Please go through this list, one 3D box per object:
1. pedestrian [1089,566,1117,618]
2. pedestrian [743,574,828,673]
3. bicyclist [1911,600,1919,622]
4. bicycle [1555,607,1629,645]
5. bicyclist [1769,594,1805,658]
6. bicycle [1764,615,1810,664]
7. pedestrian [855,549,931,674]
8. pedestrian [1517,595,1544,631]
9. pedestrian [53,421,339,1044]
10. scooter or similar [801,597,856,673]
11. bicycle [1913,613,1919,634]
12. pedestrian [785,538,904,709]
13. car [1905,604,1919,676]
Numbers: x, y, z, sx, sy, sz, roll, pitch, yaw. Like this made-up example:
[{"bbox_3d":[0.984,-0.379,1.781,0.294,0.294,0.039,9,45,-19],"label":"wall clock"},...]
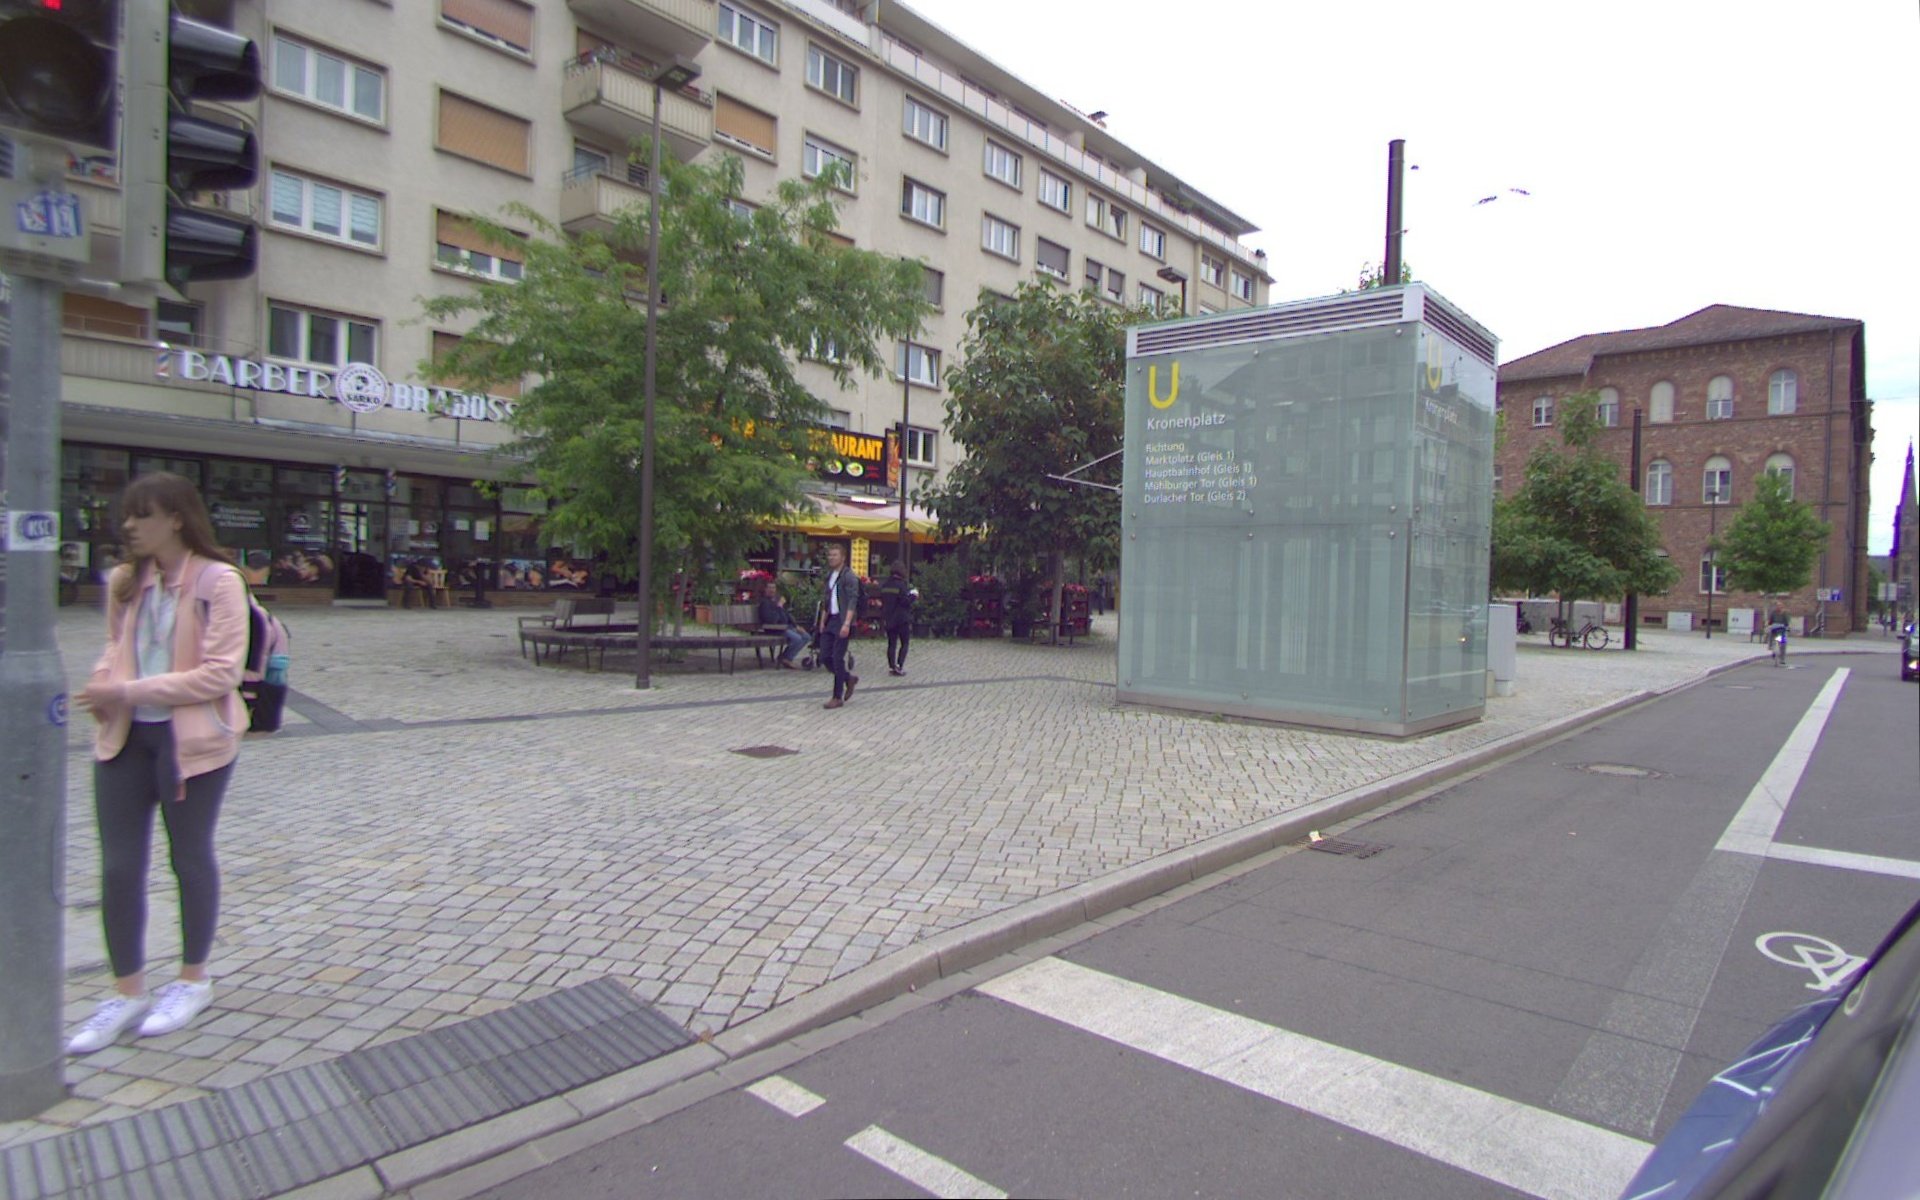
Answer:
[{"bbox_3d":[5.398,-0.295,38.182,0.835,1.909,0.777,1,0,-8],"label":"pedestrian"},{"bbox_3d":[-2.490,0.310,14.420,0.720,1.313,1.046,1,2,-41],"label":"pedestrian"},{"bbox_3d":[53.121,0.605,56.070,0.585,1.186,0.652,2,1,42],"label":"bicyclist"},{"bbox_3d":[20.122,0.822,32.260,0.633,1.137,1.920,1,0,-36],"label":"bicycle"},{"bbox_3d":[22.470,0.700,27.493,0.779,1.705,0.570,1,0,-38],"label":"bicyclist"},{"bbox_3d":[22.485,1.060,27.513,1.905,1.276,0.524,1,1,-37],"label":"bicycle"},{"bbox_3d":[-0.955,0.144,14.485,0.624,1.705,0.858,4,2,39],"label":"pedestrian"},{"bbox_3d":[25.209,0.568,44.736,0.768,1.473,0.765,4,2,13],"label":"pedestrian"},{"bbox_3d":[-2.476,0.375,3.297,0.521,1.784,0.594,0,-1,35],"label":"pedestrian"},{"bbox_3d":[-1.944,0.477,14.776,0.710,0.960,1.595,2,2,-9],"label":"scooter or similar"},{"bbox_3d":[53.026,1.299,55.930,0.471,1.173,2.238,2,1,42],"label":"bicycle"},{"bbox_3d":[-1.308,0.240,11.520,0.713,1.824,1.062,5,3,42],"label":"pedestrian"},{"bbox_3d":[22.538,0.900,22.742,1.741,1.566,3.596,1,0,41],"label":"car"}]
